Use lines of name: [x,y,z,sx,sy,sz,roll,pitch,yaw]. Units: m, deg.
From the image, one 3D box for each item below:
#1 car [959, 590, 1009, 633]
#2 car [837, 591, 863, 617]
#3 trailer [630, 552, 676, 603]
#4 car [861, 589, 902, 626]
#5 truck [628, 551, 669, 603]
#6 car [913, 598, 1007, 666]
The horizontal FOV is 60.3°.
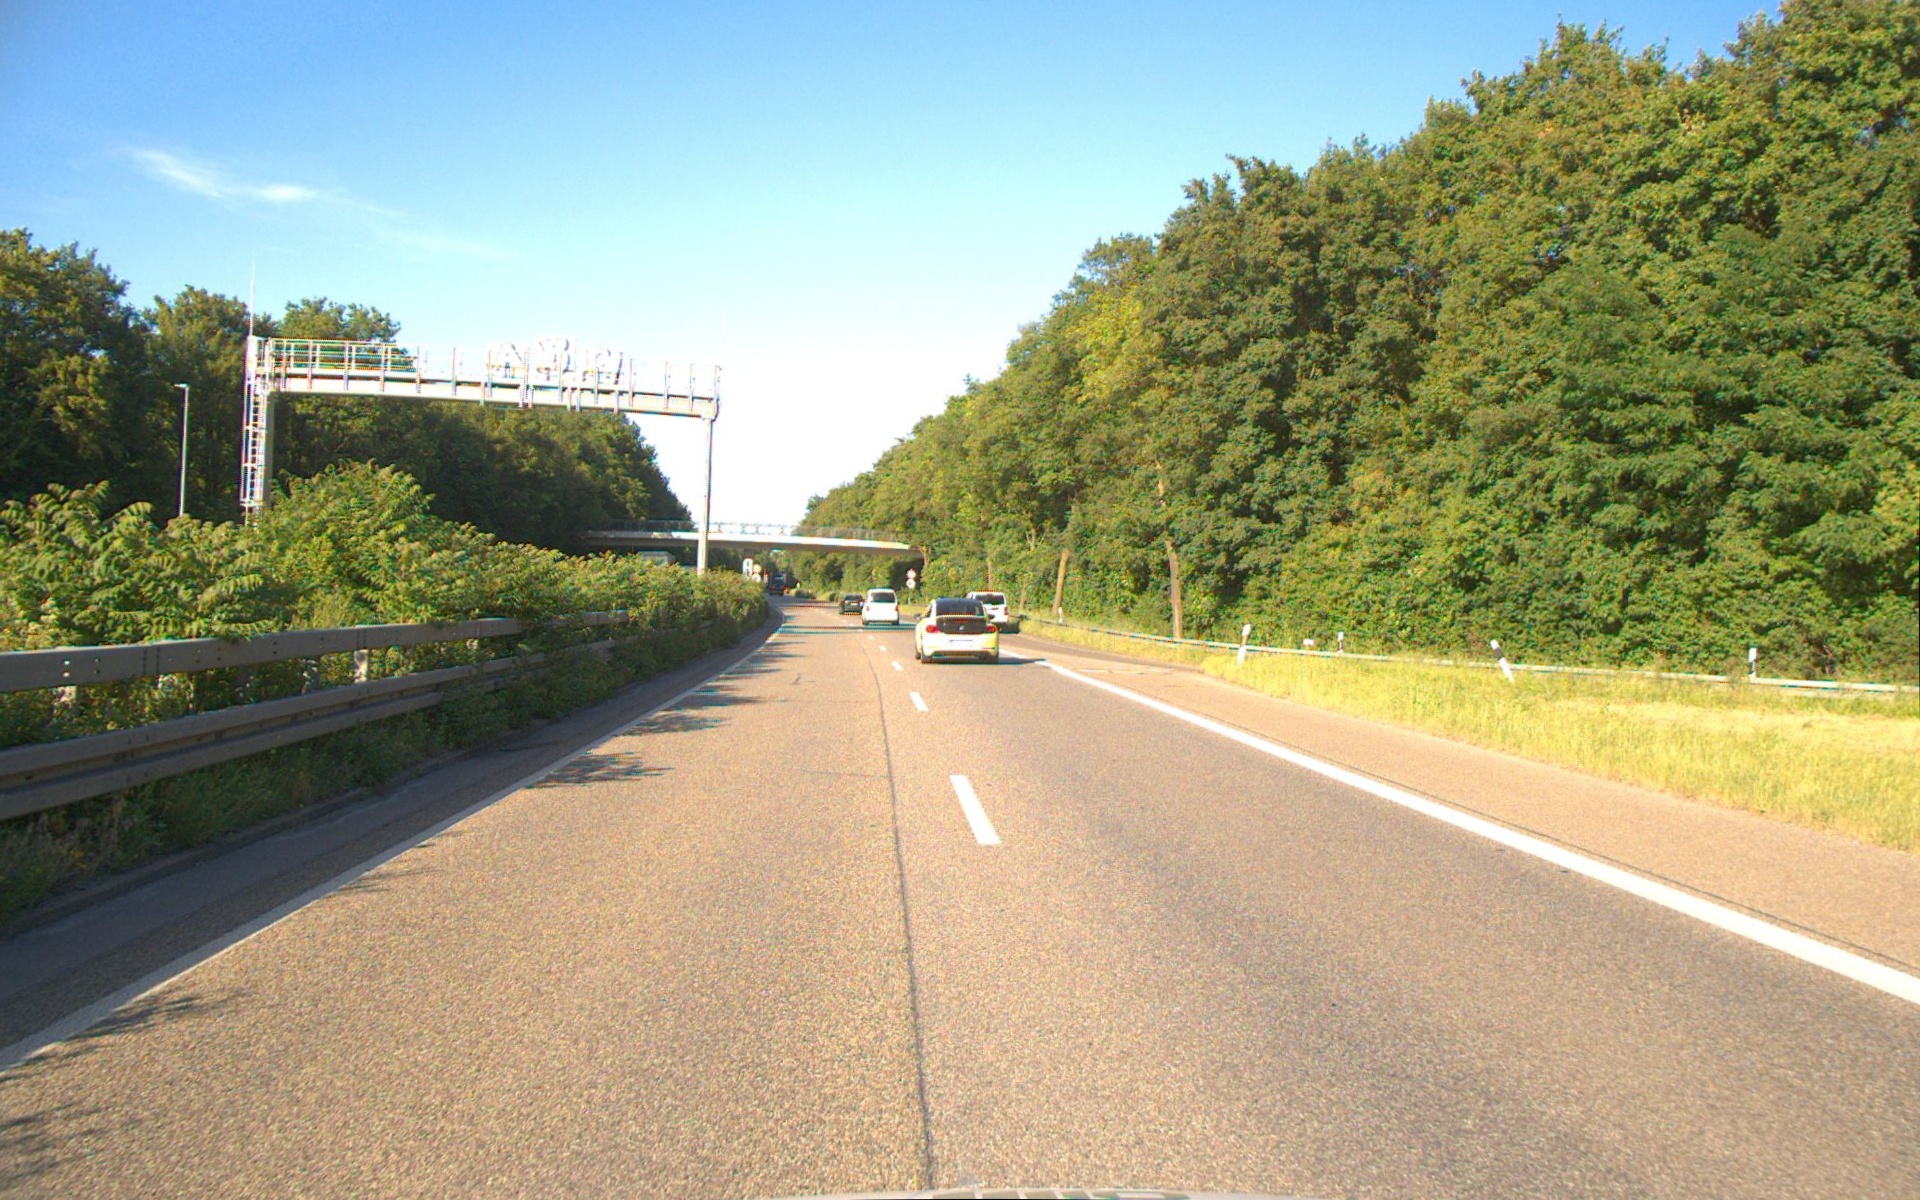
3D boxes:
car: [1.029,0.488,73.039,1.860,1.856,3.996,1,0,-5]
car: [-8.043,0.278,121.256,1.859,1.798,3.997,1,0,-4]
trailer: [-26.107,-1.854,141.164,2.686,4.097,14.055,2,0,-6]
car: [-3.980,0.371,83.678,1.860,1.798,3.996,1,0,-5]
truck: [-25.395,-1.831,134.918,2.686,4.098,6.171,2,0,-6]
car: [-0.052,0.713,38.763,1.860,1.496,3.996,1,0,-5]
